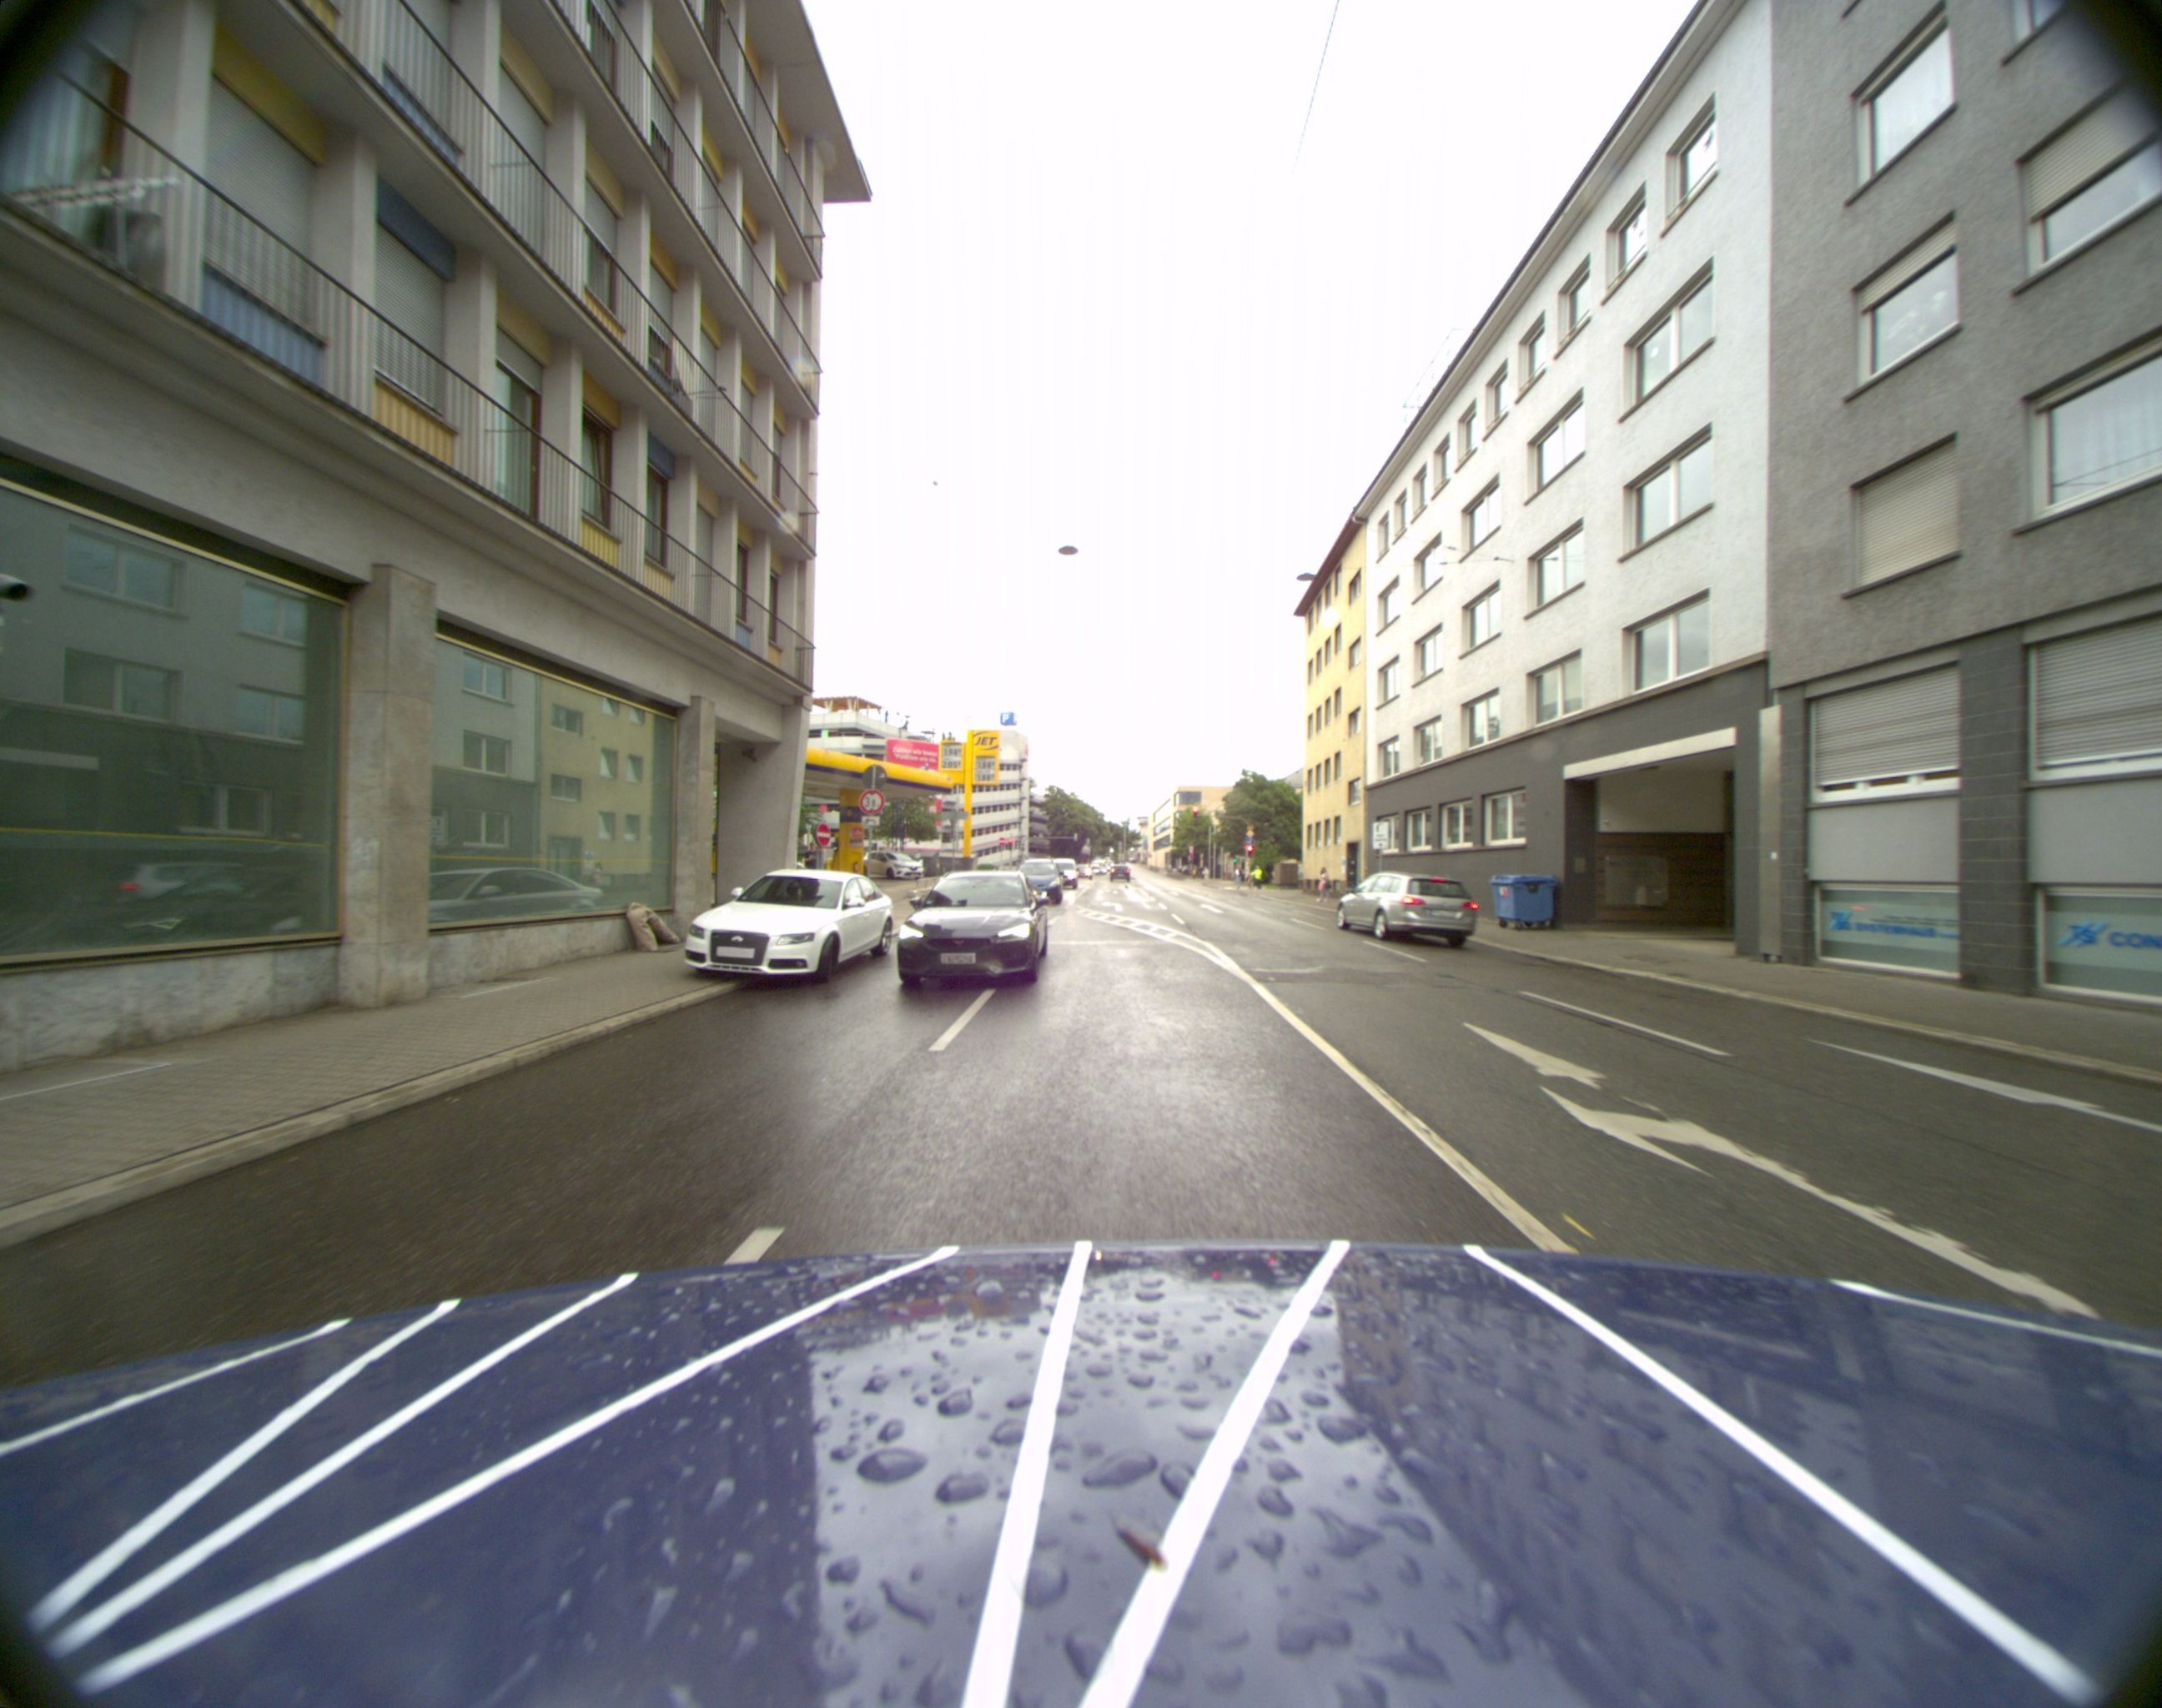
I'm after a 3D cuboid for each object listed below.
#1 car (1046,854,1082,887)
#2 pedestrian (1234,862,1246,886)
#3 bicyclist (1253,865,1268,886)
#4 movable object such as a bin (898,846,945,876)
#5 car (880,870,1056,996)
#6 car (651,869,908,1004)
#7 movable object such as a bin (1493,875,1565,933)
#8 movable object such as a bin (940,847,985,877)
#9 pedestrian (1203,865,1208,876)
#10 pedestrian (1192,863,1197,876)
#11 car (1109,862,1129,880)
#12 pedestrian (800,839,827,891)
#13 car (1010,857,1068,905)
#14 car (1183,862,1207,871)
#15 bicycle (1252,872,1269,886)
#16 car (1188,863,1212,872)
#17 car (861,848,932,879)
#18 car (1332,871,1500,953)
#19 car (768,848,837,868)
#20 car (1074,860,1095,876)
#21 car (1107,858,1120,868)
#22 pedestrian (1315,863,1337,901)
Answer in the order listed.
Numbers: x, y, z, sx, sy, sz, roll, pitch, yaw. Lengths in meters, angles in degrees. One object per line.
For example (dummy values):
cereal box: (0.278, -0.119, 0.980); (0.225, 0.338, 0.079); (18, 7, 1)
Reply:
car: (-0.976, 0.976, 45.848); (1.804, 1.817, 3.951); (-1, -1, 4)
pedestrian: (11.442, 1.455, 54.589); (0.719, 1.679, 0.811); (-1, 0, 4)
bicyclist: (12.527, 1.514, 53.078); (0.844, 1.433, 0.813); (-1, 0, 4)
movable object such as a bin: (-9.006, 0.389, 42.909); (2.160, 1.546, 1.773); (2, 0, 3)
car: (-1.395, 0.968, 11.111); (1.738, 1.380, 4.583); (-1, 0, 2)
car: (-4.150, 1.037, 11.435); (1.898, 1.394, 4.609); (5, 0, 0)
movable object such as a bin: (10.869, 1.197, 18.491); (1.079, 1.316, 1.191); (-1, 0, 3)
movable object such as a bin: (-6.694, 0.449, 42.952); (2.160, 1.565, 1.773); (1, 0, 3)
pedestrian: (15.954, 2.096, 97.537); (0.622, 1.368, 0.475); (-1, 0, 3)
pedestrian: (14.584, 1.998, 97.771); (0.595, 1.761, 0.692); (-1, 0, 1)
car: (3.626, 1.600, 71.867); (1.812, 1.585, 4.296); (1, -1, 3)
pedestrian: (-9.338, 0.379, 26.510); (0.661, 1.761, 0.528); (3, 1, -40)
car: (-1.475, 0.961, 28.228); (1.846, 1.646, 4.001); (0, 0, 1)
car: (19.979, 2.208, 133.509); (3.995, 1.575, 2.001); (-1, 0, 6)
bicycle: (12.552, 1.749, 53.116); (0.887, 0.902, 1.867); (-1, 0, 5)
car: (20.431, 2.348, 131.054); (3.995, 1.575, 2.001); (-1, 0, 6)
car: (-9.530, 0.473, 39.066); (1.750, 1.434, 3.987); (2, 1, -44)
car: (7.161, 1.172, 16.796); (1.831, 1.408, 4.296); (4, 0, 2)
car: (-23.533, 0.333, 64.303); (5.037, 1.622, 1.999); (-1, 0, -3)
car: (0.386, 1.398, 78.688); (1.804, 1.561, 3.951); (-1, -1, 4)
car: (5.459, 1.494, 127.511); (1.998, 1.772, 4.000); (-1, 0, 0)
pedestrian: (10.887, 1.244, 33.781); (0.719, 1.679, 0.811); (-1, 0, 4)
